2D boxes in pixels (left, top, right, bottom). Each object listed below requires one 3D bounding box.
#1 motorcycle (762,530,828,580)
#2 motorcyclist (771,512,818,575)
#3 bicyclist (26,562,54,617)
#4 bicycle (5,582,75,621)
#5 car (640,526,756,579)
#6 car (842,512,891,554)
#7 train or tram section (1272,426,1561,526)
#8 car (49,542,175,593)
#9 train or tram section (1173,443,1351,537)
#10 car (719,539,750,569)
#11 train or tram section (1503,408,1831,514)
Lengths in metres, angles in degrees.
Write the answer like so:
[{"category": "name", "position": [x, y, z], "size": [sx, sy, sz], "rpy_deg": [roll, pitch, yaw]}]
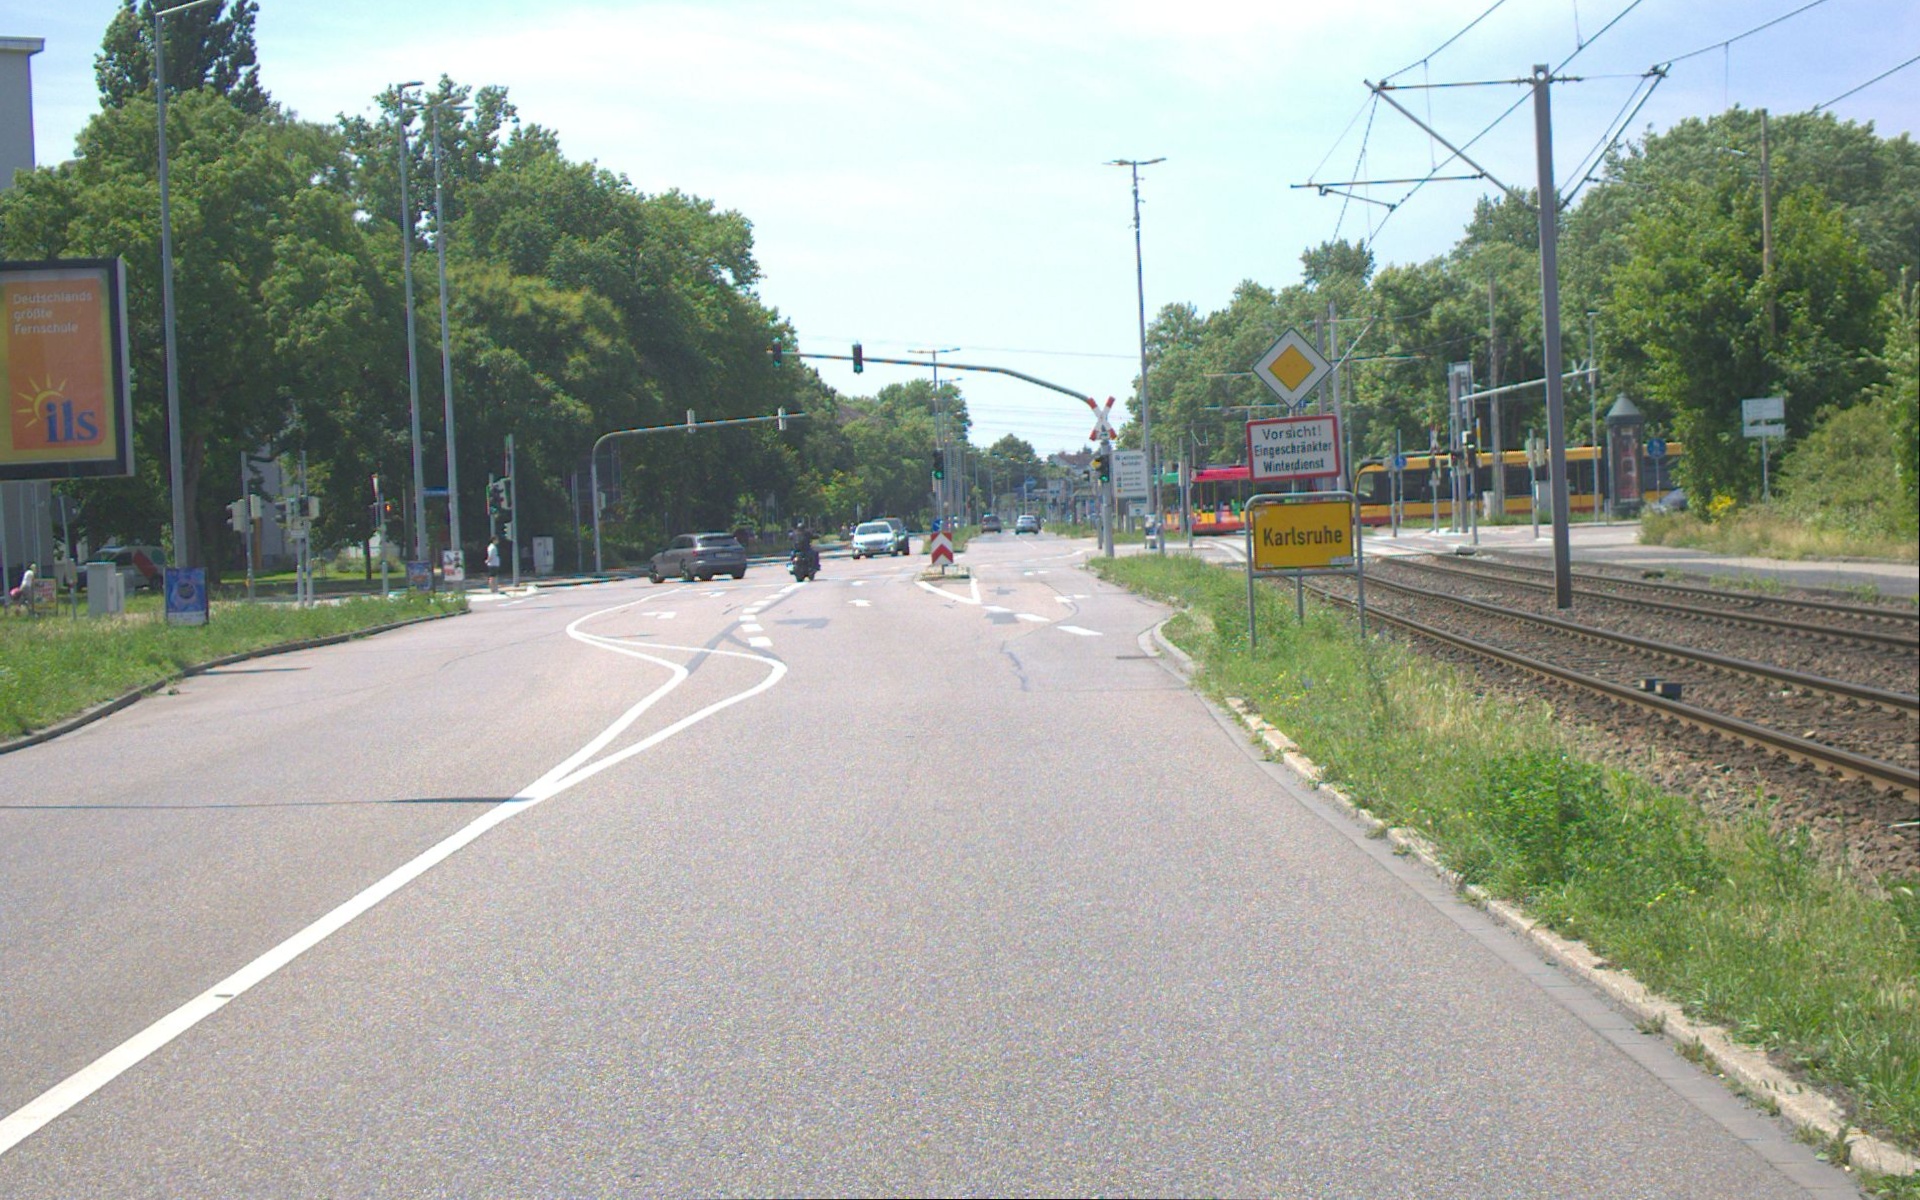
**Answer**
[{"category": "motorcycle", "position": [-4.331, -1.201, 90.371], "size": [0.848, 1.251, 2.447], "rpy_deg": [-1, 1, 20]}, {"category": "motorcyclist", "position": [-4.353, -1.488, 90.412], "size": [0.790, 1.637, 1.210], "rpy_deg": [-1, 1, 20]}, {"category": "bicyclist", "position": [-26.396, -0.303, 98.663], "size": [0.664, 1.531, 0.631], "rpy_deg": [-2, 1, -21]}, {"category": "bicycle", "position": [-26.390, 0.045, 98.627], "size": [1.863, 1.090, 0.646], "rpy_deg": [0, 1, -22]}, {"category": "car", "position": [-7.800, -1.410, 102.021], "size": [1.906, 1.493, 4.631], "rpy_deg": [-2, 1, -25]}, {"category": "car", "position": [-3.855, -2.802, 142.680], "size": [1.784, 1.623, 3.865], "rpy_deg": [-3, 1, 1]}, {"category": "train or tram section", "position": [21.162, -5.690, 160.234], "size": [13.438, 3.799, 2.918], "rpy_deg": [-3, -2, 35]}, {"category": "car", "position": [-33.368, -1.284, 135.428], "size": [1.790, 1.762, 4.538], "rpy_deg": [-2, 2, 41]}, {"category": "train or tram section", "position": [14.690, -5.317, 168.772], "size": [2.913, 3.799, 13.076], "rpy_deg": [-1, -2, -22]}, {"category": "car", "position": [-15.321, -3.106, 233.356], "size": [1.993, 2.007, 4.000], "rpy_deg": [0, 1, -2]}, {"category": "train or tram section", "position": [31.627, -6.170, 154.131], "size": [14.016, 3.906, 2.919], "rpy_deg": [-2, -2, 26]}]
